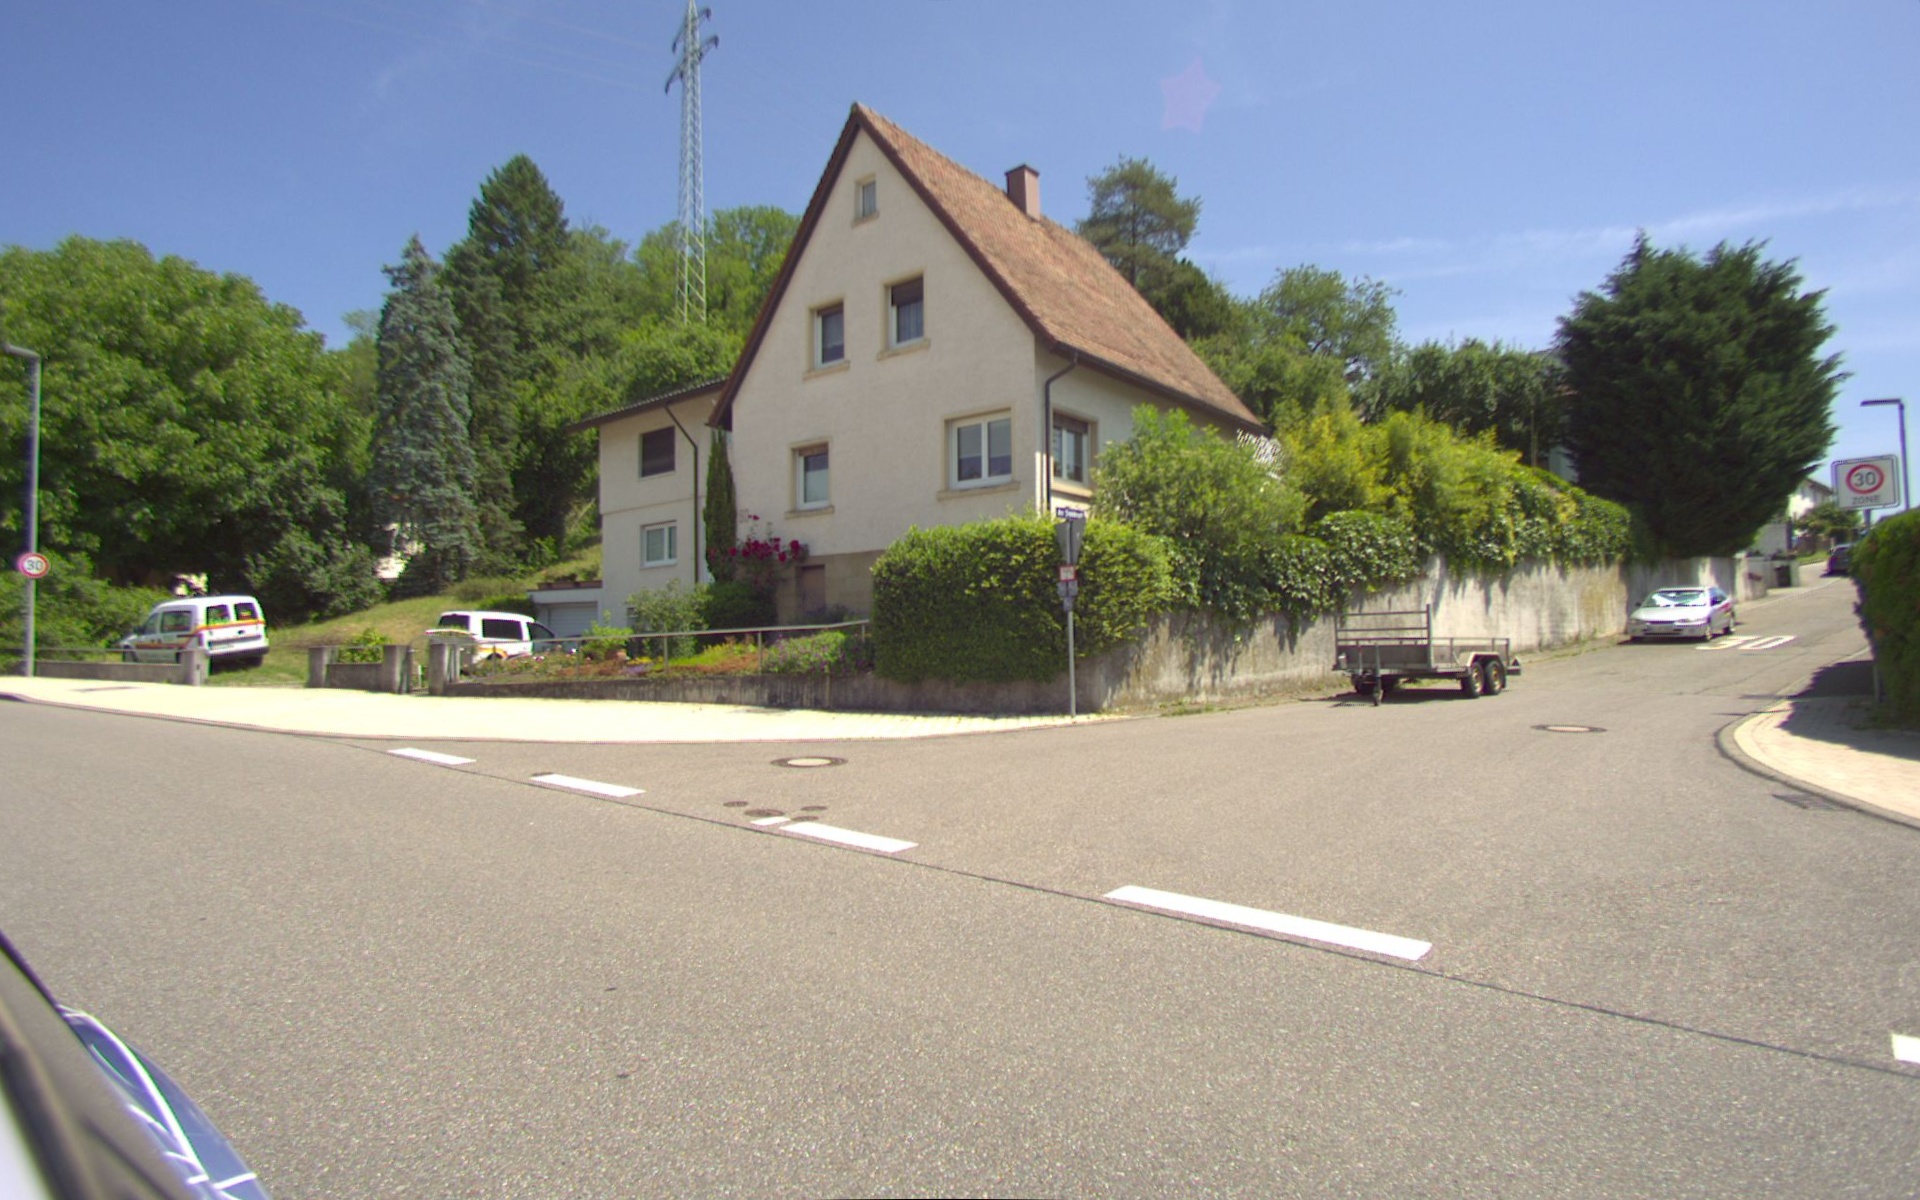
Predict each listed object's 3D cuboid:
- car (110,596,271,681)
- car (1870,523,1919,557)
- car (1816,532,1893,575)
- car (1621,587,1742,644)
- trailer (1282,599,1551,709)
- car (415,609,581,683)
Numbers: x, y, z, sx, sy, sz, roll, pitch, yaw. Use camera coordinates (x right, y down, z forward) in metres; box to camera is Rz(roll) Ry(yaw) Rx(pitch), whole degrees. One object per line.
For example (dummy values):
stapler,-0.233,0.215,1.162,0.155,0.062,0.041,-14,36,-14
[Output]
car,-19.126,0.948,25.145,3.981,1.963,1.688,-1,-2,28
car,54.714,-3.501,59.060,3.939,1.836,1.937,-4,1,-42
car,41.942,-2.199,47.438,4.239,1.836,2.195,-4,1,-42
car,18.675,0.379,26.140,3.722,1.200,1.750,-4,1,-42
trailer,7.590,0.786,16.597,4.999,1.517,2.003,-1,-2,-40
car,-12.556,1.292,27.728,1.799,1.803,3.968,-5,-5,23
